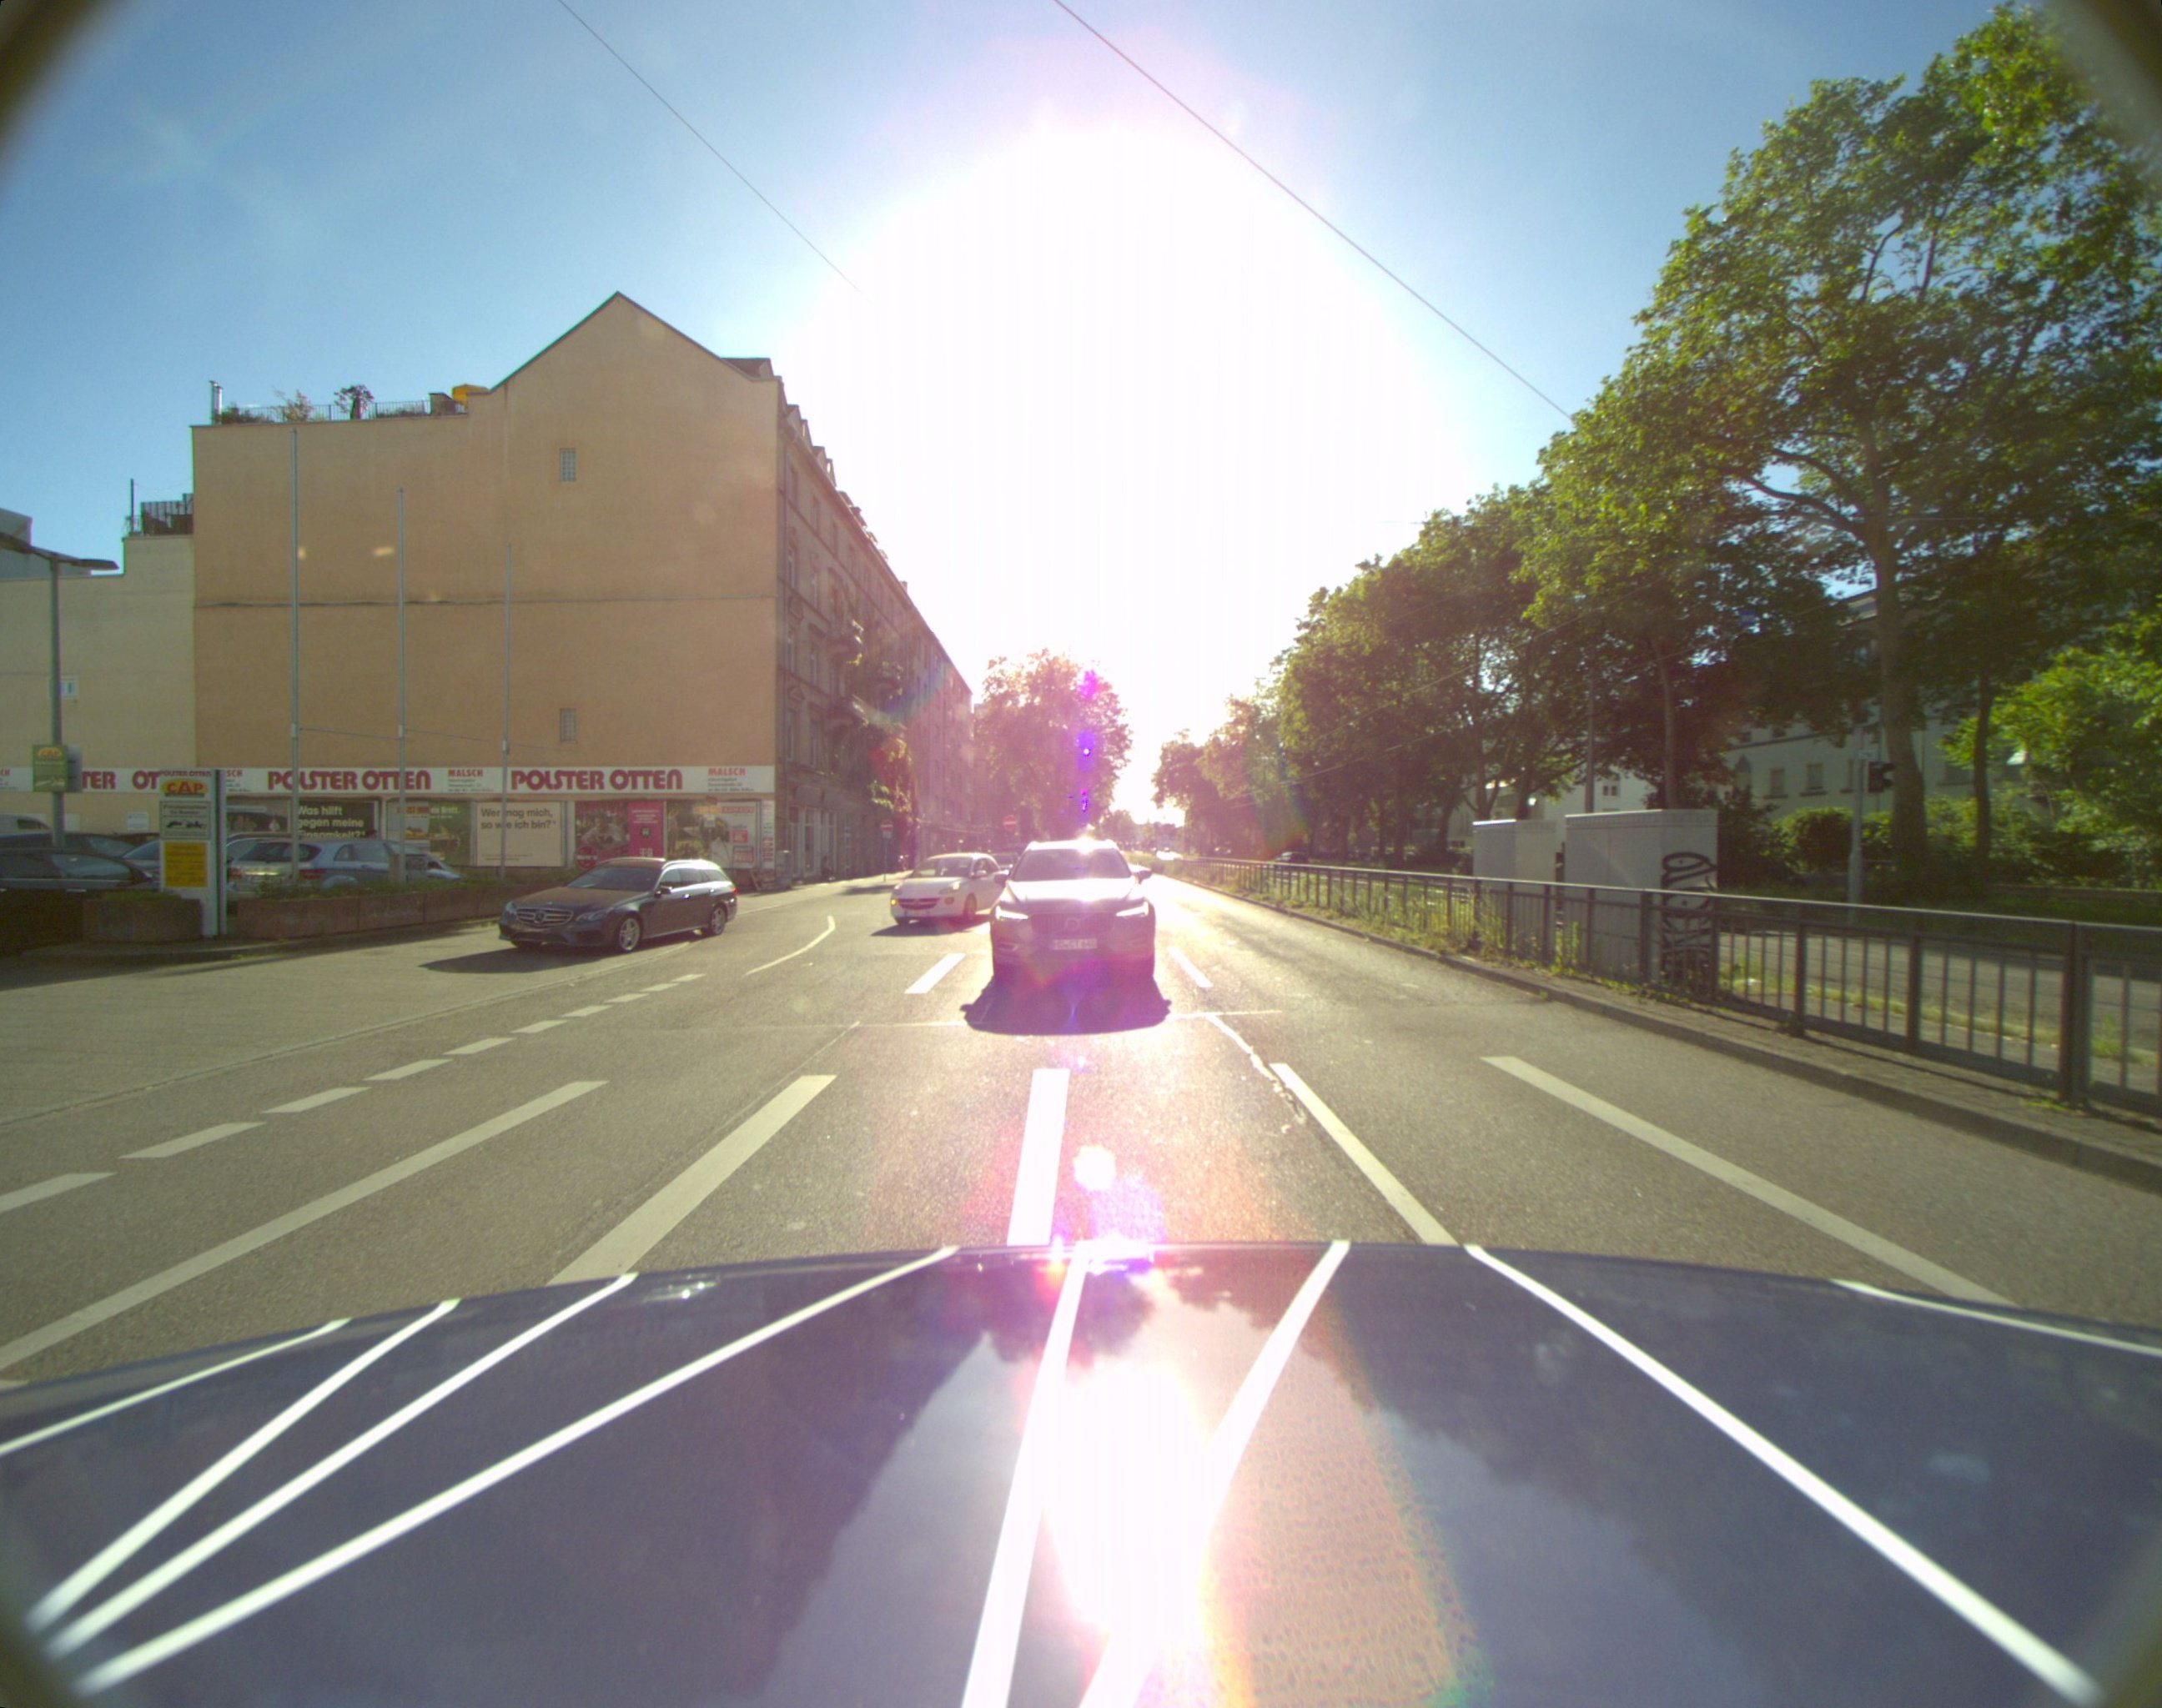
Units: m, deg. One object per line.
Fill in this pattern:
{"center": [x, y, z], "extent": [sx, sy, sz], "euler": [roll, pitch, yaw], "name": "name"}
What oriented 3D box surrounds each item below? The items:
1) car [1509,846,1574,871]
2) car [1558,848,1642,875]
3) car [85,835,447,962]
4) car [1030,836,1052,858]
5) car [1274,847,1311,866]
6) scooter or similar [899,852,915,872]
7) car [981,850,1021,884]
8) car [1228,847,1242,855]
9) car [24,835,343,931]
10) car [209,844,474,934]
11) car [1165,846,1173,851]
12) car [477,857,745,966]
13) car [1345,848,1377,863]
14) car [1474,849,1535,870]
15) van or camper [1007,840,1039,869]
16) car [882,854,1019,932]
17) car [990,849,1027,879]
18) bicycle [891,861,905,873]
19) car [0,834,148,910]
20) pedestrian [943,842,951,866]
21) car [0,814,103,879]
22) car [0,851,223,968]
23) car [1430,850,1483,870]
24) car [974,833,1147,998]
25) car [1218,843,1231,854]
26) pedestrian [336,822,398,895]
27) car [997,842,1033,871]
{"center": [28.483, 0.268, 47.120], "extent": [1.779, 1.456, 3.697], "euler": [0, 1, 1], "name": "car"}
{"center": [28.738, 0.373, 42.249], "extent": [1.740, 1.432, 4.318], "euler": [0, 1, 1], "name": "car"}
{"center": [-12.535, 0.597, 12.128], "extent": [1.654, 1.635, 3.901], "euler": [3, 0, -3], "name": "car"}
{"center": [-4.556, -0.764, 87.130], "extent": [2.079, 2.420, 5.855], "euler": [-1, 1, 1], "name": "car"}
{"center": [17.453, 0.187, 62.832], "extent": [1.688, 1.490, 4.341], "euler": [0, 1, -3], "name": "car"}
{"center": [-11.026, 0.499, 48.073], "extent": [0.638, 1.167, 1.730], "euler": [0, 1, -24], "name": "scooter or similar"}
{"center": [-4.010, 0.611, 38.741], "extent": [1.645, 1.509, 3.999], "euler": [-2, 1, -1], "name": "car"}
{"center": [27.525, -0.541, 135.814], "extent": [1.771, 1.477, 3.688], "euler": [0, 1, 1], "name": "car"}
{"center": [-17.684, 0.476, 15.340], "extent": [1.749, 1.683, 3.998], "euler": [0, 1, -2], "name": "car"}
{"center": [-15.128, 0.622, 15.910], "extent": [1.749, 1.635, 3.998], "euler": [0, 1, -3], "name": "car"}
{"center": [28.811, -1.850, 249.022], "extent": [1.862, 1.638, 4.459], "euler": [0, 1, -1], "name": "car"}
{"center": [-8.154, 0.880, 13.849], "extent": [1.837, 1.478, 4.733], "euler": [3, 1, 1], "name": "car"}
{"center": [28.522, 0.121, 77.503], "extent": [1.801, 1.464, 4.000], "euler": [0, 1, 1], "name": "car"}
{"center": [28.723, 0.337, 51.724], "extent": [1.644, 1.316, 4.460], "euler": [2, 1, 1], "name": "car"}
{"center": [-4.073, 0.011, 53.936], "extent": [1.889, 2.002, 5.093], "euler": [0, 1, 0], "name": "van or camper"}
{"center": [-2.796, 0.797, 17.170], "extent": [1.605, 1.446, 3.784], "euler": [-1, 2, 14], "name": "car"}
{"center": [-4.048, 0.533, 43.190], "extent": [1.743, 1.509, 3.999], "euler": [-2, 1, -1], "name": "car"}
{"center": [-11.054, 0.762, 45.846], "extent": [0.469, 0.702, 1.512], "euler": [0, 1, 1], "name": "bicycle"}
{"center": [-22.661, 0.352, 15.843], "extent": [1.546, 1.535, 3.937], "euler": [1, 1, -1], "name": "car"}
{"center": [-10.360, -0.012, 58.748], "extent": [0.470, 1.822, 0.516], "euler": [0, 1, 0], "name": "pedestrian"}
{"center": [-40.732, -0.304, 28.369], "extent": [1.708, 2.398, 4.886], "euler": [1, 1, 9], "name": "car"}
{"center": [-14.712, 0.711, 10.677], "extent": [1.562, 1.477, 3.393], "euler": [0, 1, -3], "name": "car"}
{"center": [28.853, 0.416, 58.528], "extent": [1.998, 1.445, 4.318], "euler": [0, 1, 1], "name": "car"}
{"center": [-0.168, 0.645, 10.573], "extent": [1.876, 1.788, 4.632], "euler": [0, 1, 1], "name": "car"}
{"center": [27.605, -1.045, 146.125], "extent": [1.998, 2.002, 4.001], "euler": [-2, 0, 5], "name": "car"}
{"center": [-20.102, 0.126, 21.418], "extent": [0.819, 2.002, 0.923], "euler": [0, 1, 1], "name": "pedestrian"}
{"center": [-4.156, 0.105, 48.411], "extent": [1.869, 1.754, 4.000], "euler": [0, 1, 1], "name": "car"}
